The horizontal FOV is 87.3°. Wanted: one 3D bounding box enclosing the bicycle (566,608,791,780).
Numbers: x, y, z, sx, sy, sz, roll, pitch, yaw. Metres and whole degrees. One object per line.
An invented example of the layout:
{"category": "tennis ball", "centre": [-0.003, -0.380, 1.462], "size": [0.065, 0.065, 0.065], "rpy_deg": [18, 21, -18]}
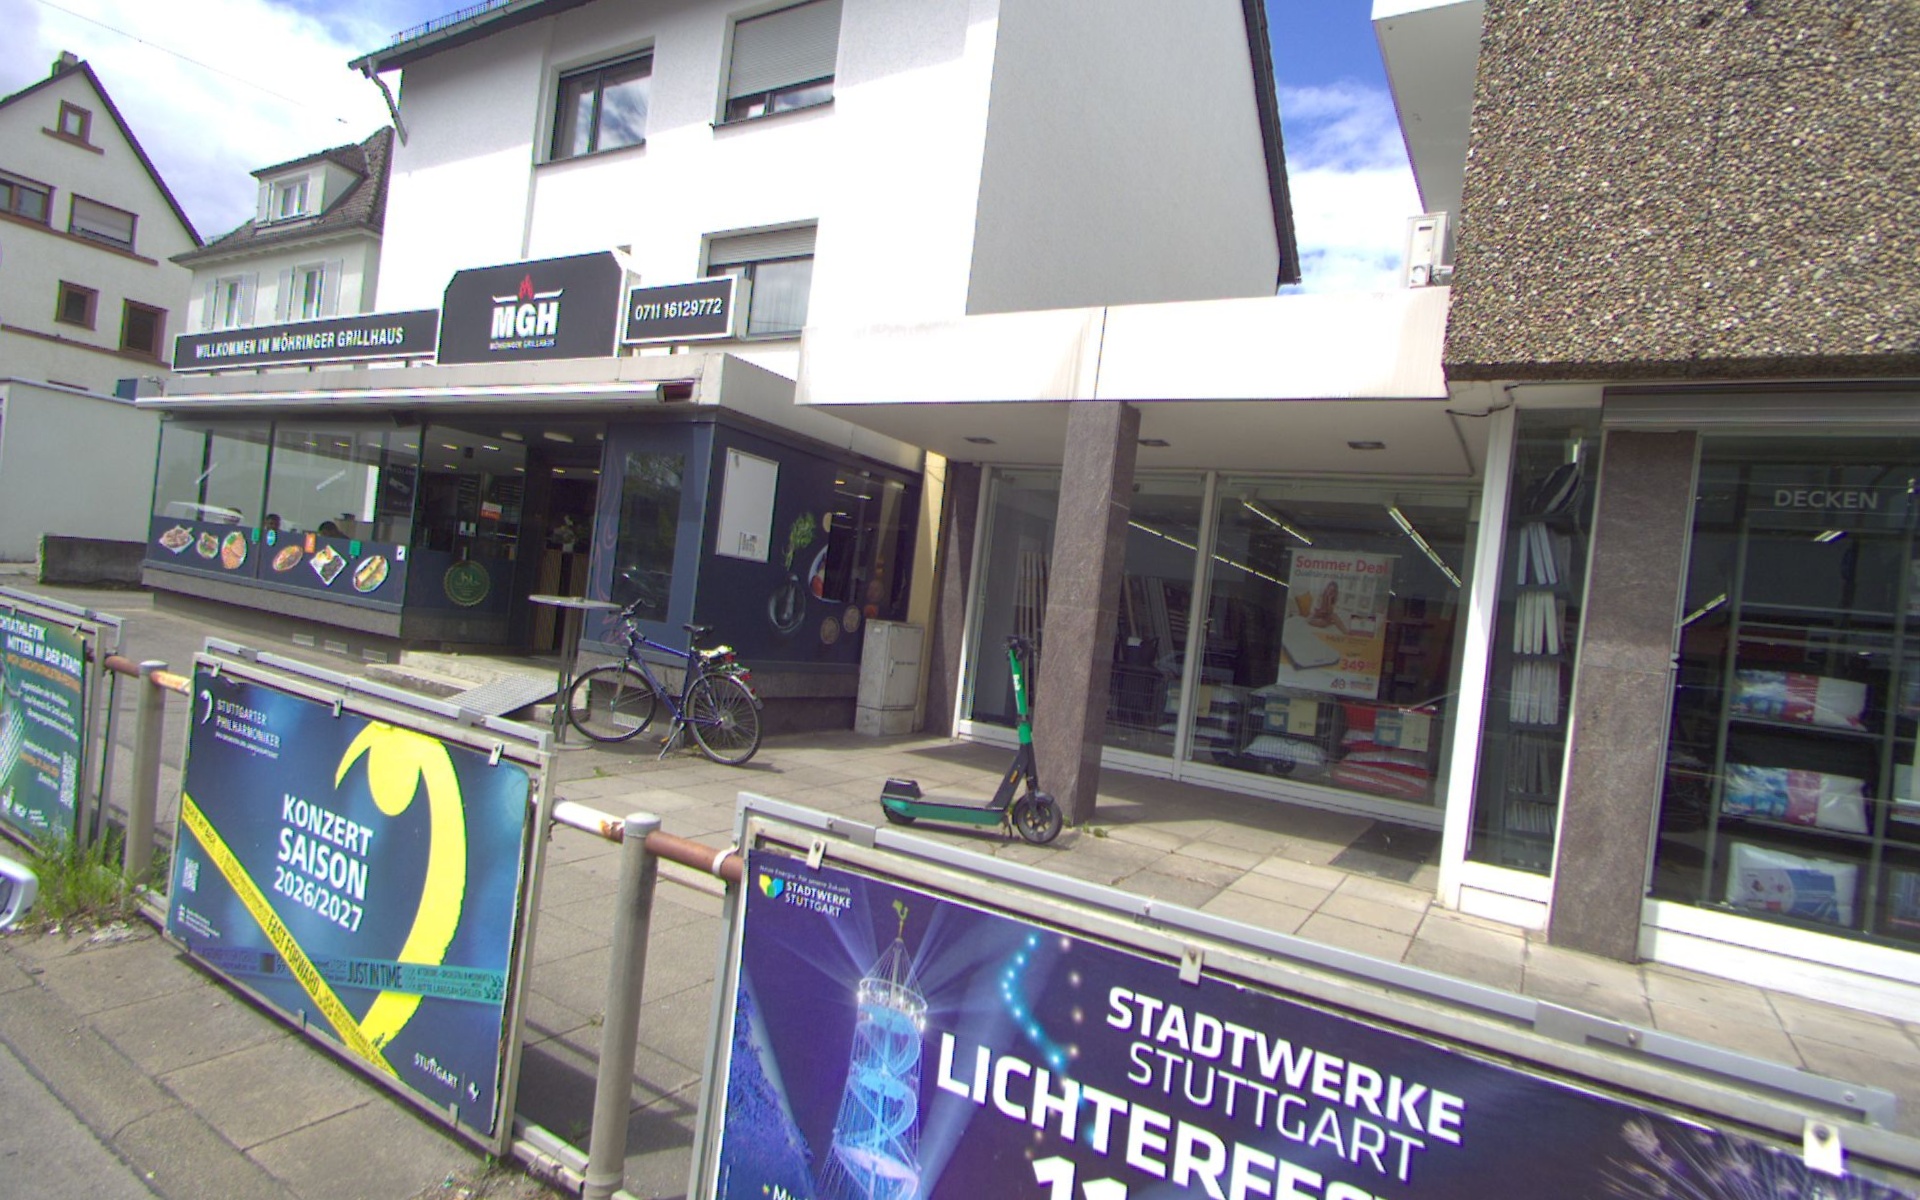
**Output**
{"category": "bicycle", "centre": [-2.152, 0.682, 7.648], "size": [1.606, 1.041, 0.476], "rpy_deg": [7, 1, 23]}

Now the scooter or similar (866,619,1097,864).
{"category": "scooter or similar", "centre": [0.149, 0.831, 6.291], "size": [1.163, 1.283, 0.689], "rpy_deg": [6, 1, 19]}
